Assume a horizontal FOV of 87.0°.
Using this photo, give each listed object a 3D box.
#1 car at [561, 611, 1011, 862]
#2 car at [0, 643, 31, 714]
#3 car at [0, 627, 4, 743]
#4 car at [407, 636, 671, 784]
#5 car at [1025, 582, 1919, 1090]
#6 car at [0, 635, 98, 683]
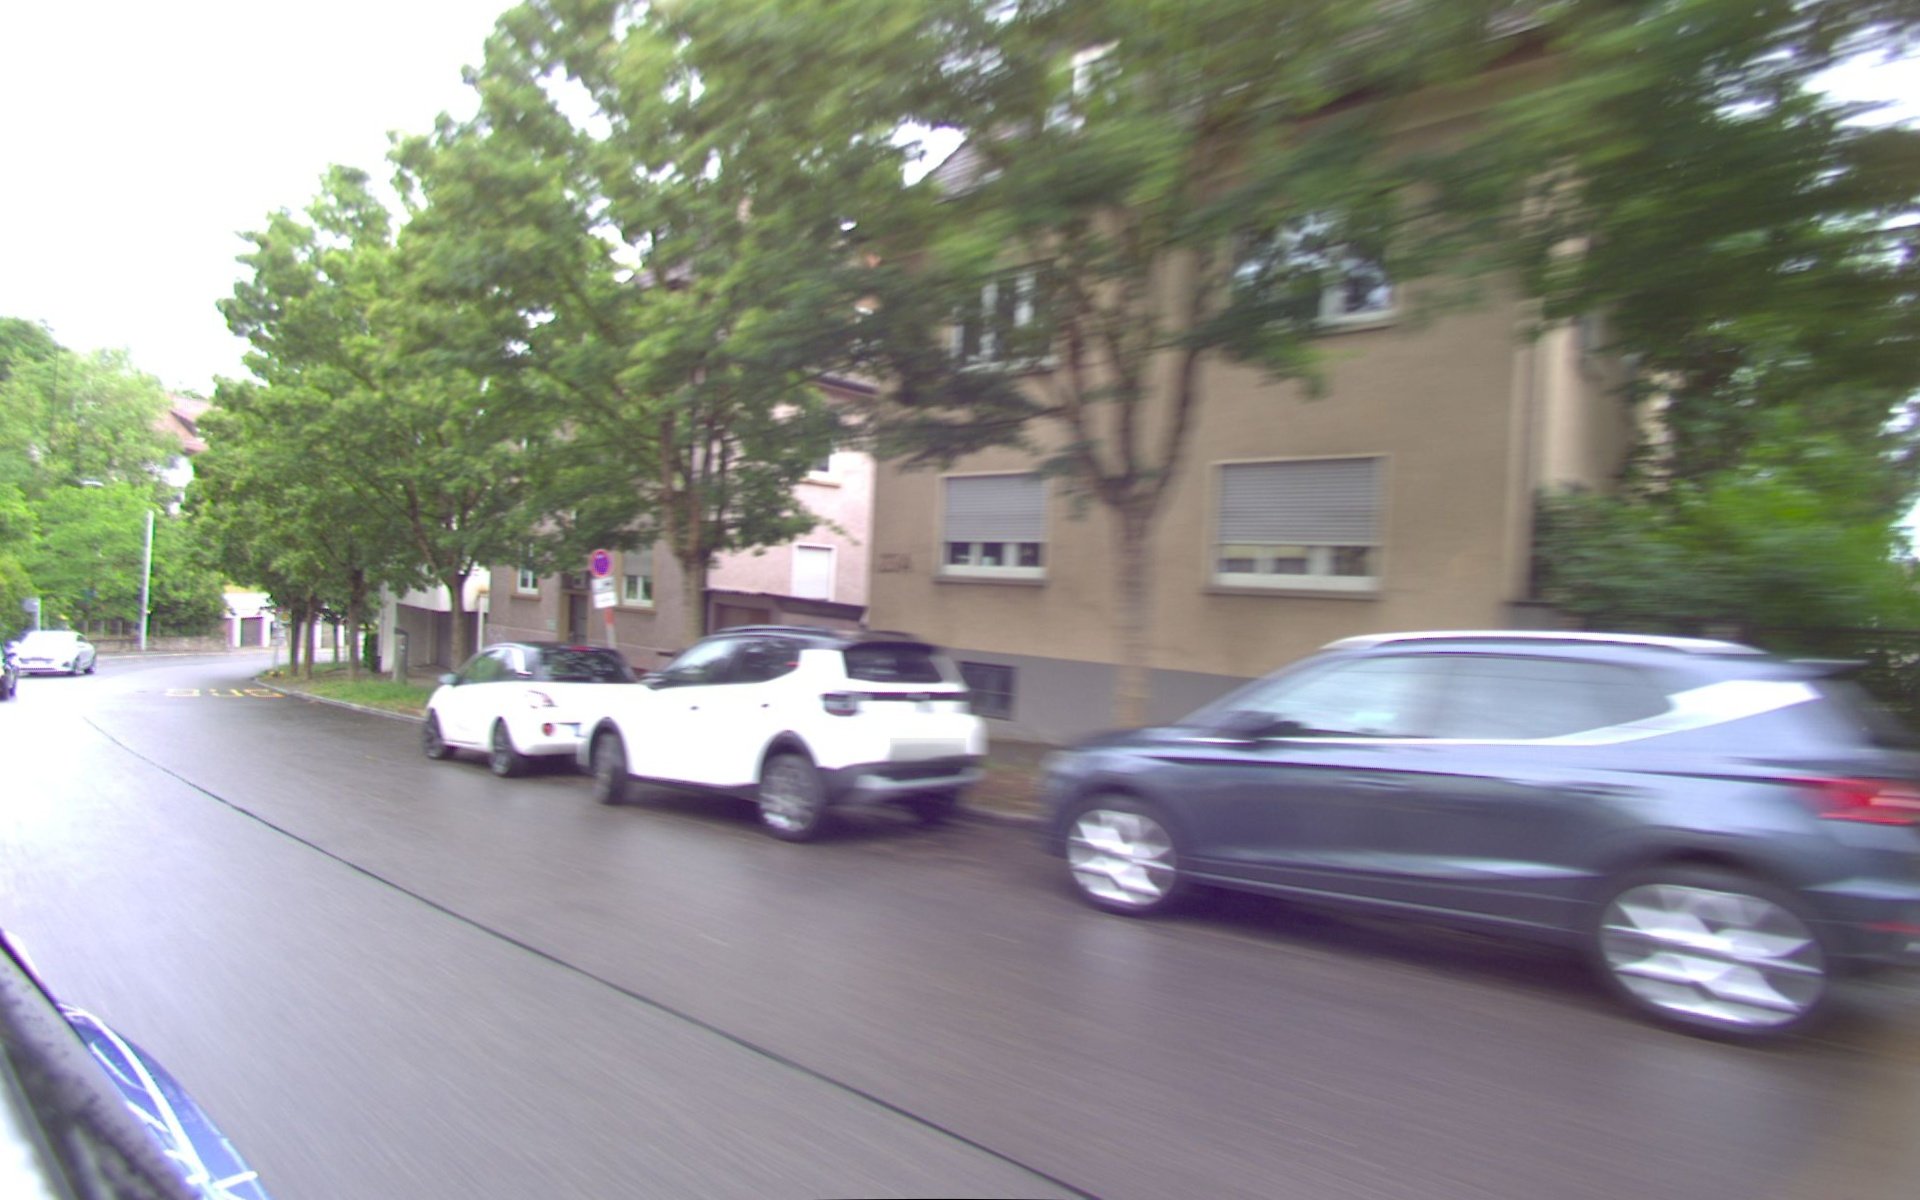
[{"bbox_3d":[-1.629,1.024,8.672,3.921,1.671,1.576,-1,-7,41],"label":"car"},{"bbox_3d":[-22.186,1.718,22.776,1.781,1.500,4.022,3,-4,-42],"label":"car"},{"bbox_3d":[-8.838,0.914,7.701,1.552,1.463,3.597,1,-3,-32],"label":"car"},{"bbox_3d":[-5.122,1.235,12.083,1.599,1.482,3.672,9,-7,-43],"label":"car"},{"bbox_3d":[2.407,0.866,5.071,3.920,1.671,1.601,-1,-6,40],"label":"car"},{"bbox_3d":[-33.647,2.165,37.461,1.980,1.674,4.457,2,-3,-33],"label":"car"}]
